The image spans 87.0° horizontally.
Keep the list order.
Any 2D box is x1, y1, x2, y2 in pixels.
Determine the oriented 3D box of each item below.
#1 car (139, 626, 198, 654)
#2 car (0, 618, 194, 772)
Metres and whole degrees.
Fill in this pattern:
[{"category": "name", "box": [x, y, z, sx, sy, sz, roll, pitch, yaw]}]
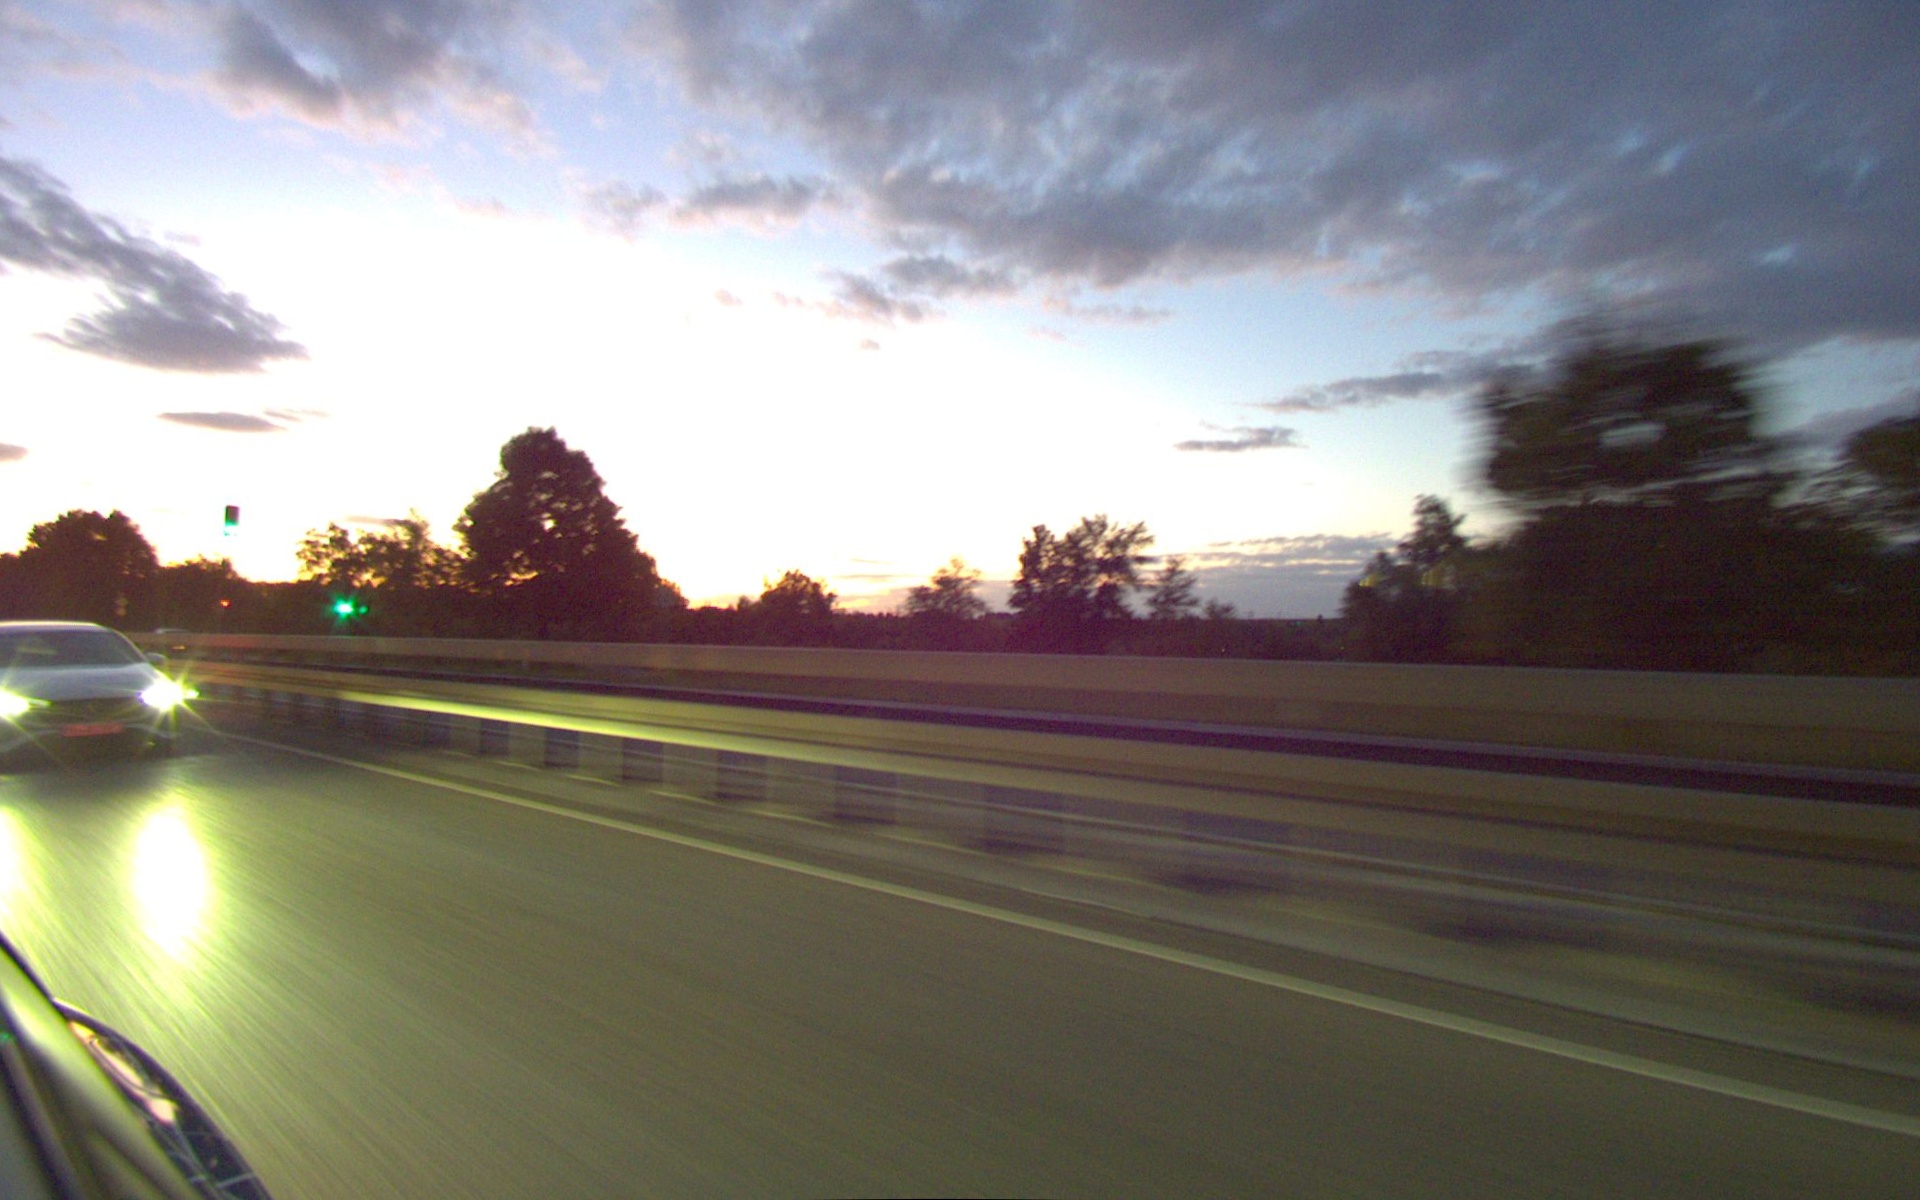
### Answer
[{"category": "car", "box": [-42.164, 2.116, 53.895, 4.025, 1.395, 1.636, -1, 0, 39]}, {"category": "car", "box": [-10.569, 0.984, 11.680, 4.642, 1.447, 1.796, -2, -1, 40]}]
